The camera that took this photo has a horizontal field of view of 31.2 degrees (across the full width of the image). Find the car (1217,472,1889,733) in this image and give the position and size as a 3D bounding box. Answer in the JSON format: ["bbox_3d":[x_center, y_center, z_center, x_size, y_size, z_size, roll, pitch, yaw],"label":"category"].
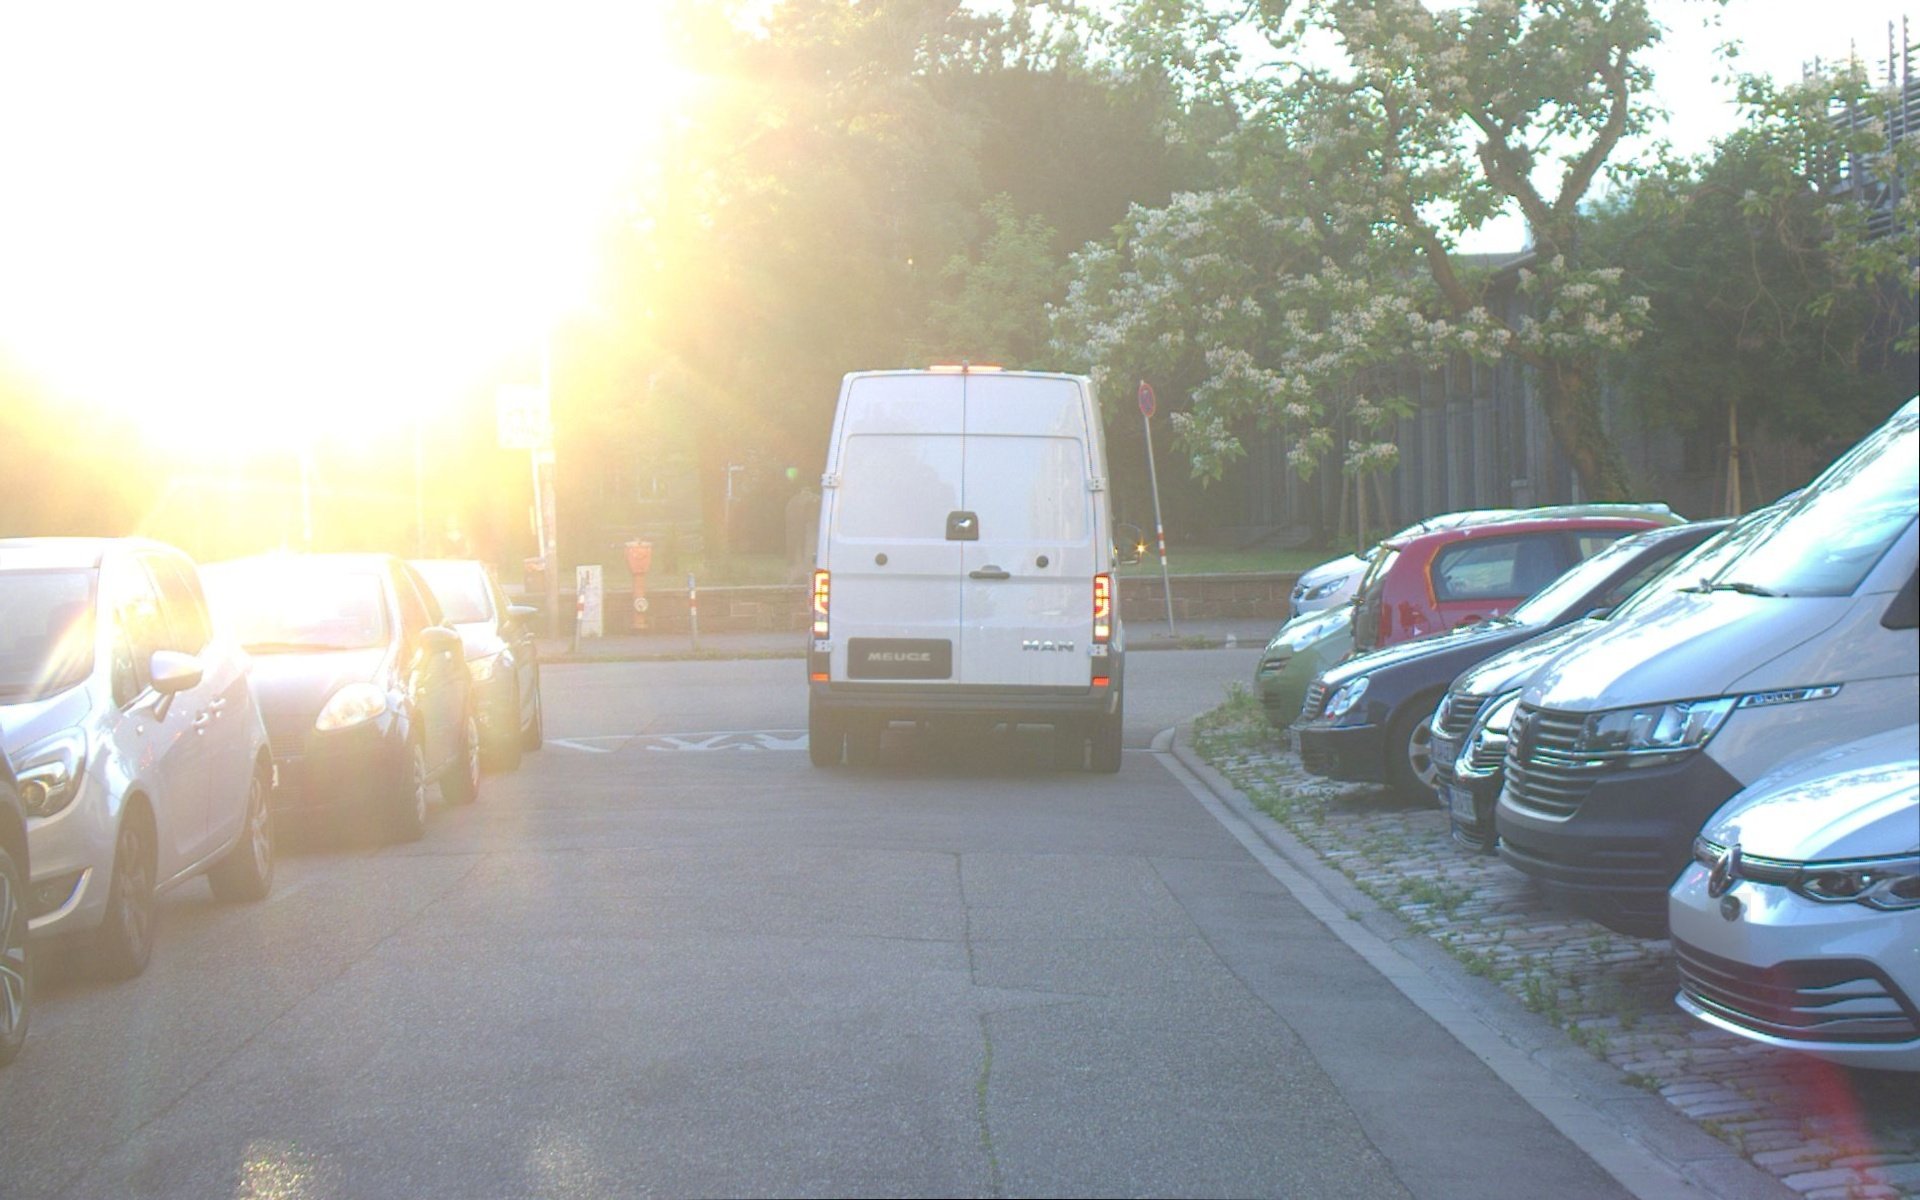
[{"bbox_3d":[4.184,0.020,24.733,4.403,1.626,1.846,-2,0,-3],"label":"car"}]

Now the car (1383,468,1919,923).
[{"bbox_3d":[4.111,0.292,14.344,4.325,1.656,1.782,-4,0,-3],"label":"car"}]

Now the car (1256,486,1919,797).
[{"bbox_3d":[4.020,0.203,19.443,4.403,1.526,1.846,-3,0,-3],"label":"car"}]

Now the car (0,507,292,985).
[{"bbox_3d":[-3.791,0.456,13.411,1.733,1.562,4.130,-2,2,-3],"label":"car"}]

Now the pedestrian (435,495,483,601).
[{"bbox_3d":[-7.793,-0.815,53.513,0.646,1.643,0.674,1,2,0],"label":"pedestrian"}]

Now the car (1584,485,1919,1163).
[{"bbox_3d":[4.096,0.466,9.286,4.403,1.626,1.846,-2,0,-1],"label":"car"}]

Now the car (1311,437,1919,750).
[{"bbox_3d":[4.599,-0.092,22.187,4.404,1.625,1.846,-5,1,2],"label":"car"}]

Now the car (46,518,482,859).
[{"bbox_3d":[-3.624,0.384,18.497,1.733,1.562,3.698,-2,2,-3],"label":"car"}]

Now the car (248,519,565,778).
[{"bbox_3d":[-3.746,0.265,23.817,1.733,1.562,3.791,-2,2,-3],"label":"car"}]

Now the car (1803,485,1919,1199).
[{"bbox_3d":[4.141,0.474,6.834,4.403,1.587,1.846,-2,0,-1],"label":"car"}]

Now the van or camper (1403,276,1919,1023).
[{"bbox_3d":[4.274,-0.027,11.455,5.132,2.160,2.040,-5,1,-2],"label":"van or camper"}]

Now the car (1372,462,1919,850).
[{"bbox_3d":[4.423,0.194,16.983,4.403,1.656,1.846,-4,0,-3],"label":"car"}]

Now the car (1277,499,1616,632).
[{"bbox_3d":[5.967,-0.446,42.470,3.854,1.568,1.958,-1,2,-2],"label":"car"}]

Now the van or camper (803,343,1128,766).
[{"bbox_3d":[-0.002,-0.366,24.426,1.993,2.609,6.403,0,2,-1],"label":"van or camper"}]

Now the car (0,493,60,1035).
[{"bbox_3d":[-3.589,0.546,8.609,1.733,1.562,4.168,-2,2,-3],"label":"car"}]
